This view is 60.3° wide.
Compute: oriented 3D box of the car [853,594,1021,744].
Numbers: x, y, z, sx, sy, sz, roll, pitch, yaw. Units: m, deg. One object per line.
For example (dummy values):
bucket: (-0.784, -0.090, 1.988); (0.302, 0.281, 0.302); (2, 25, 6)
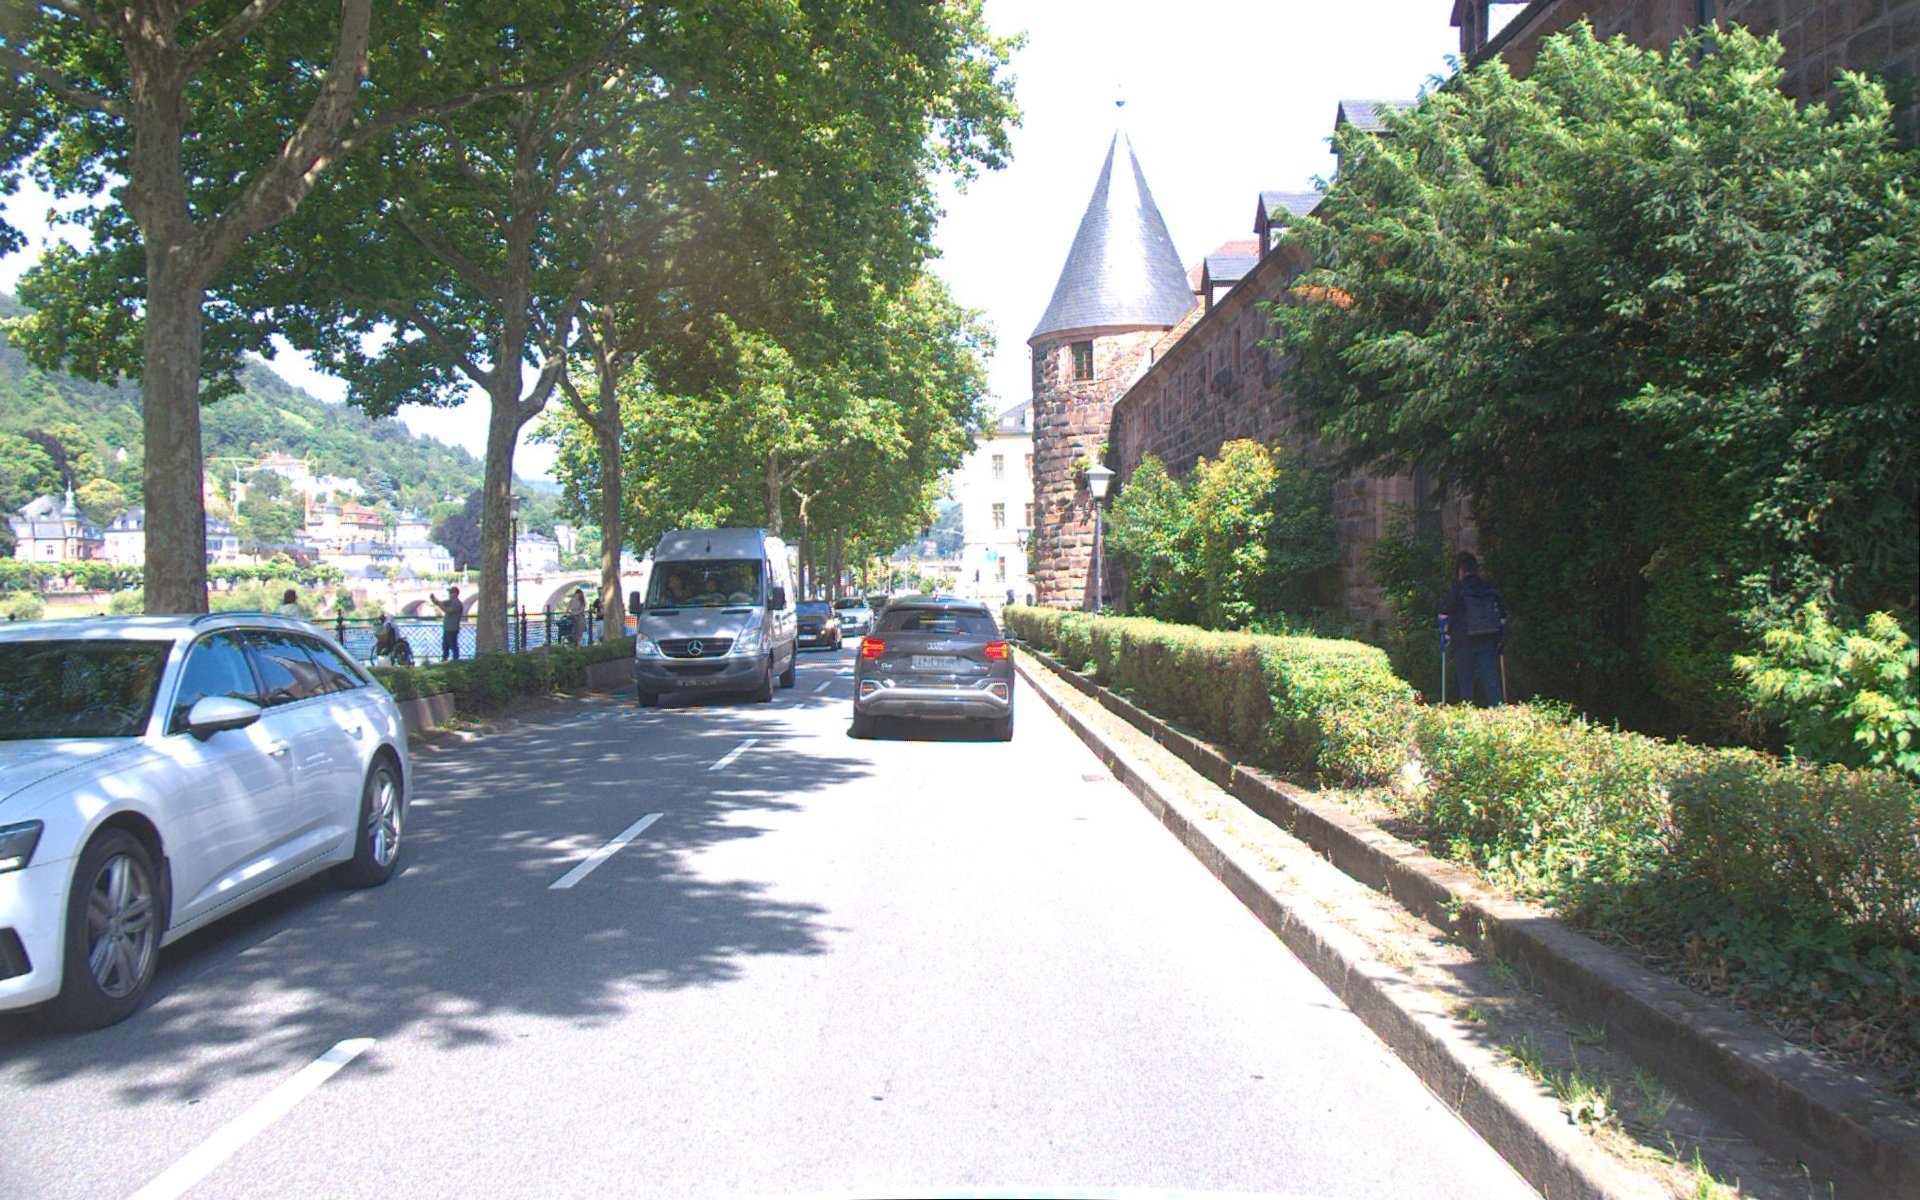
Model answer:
car: (-0.293, 0.713, 18.976); (1.713, 1.521, 3.627); (1, 0, -2)

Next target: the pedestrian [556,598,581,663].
pedestrian: (-9.713, 0.751, 41.010); (0.448, 1.581, 0.585); (-2, 0, -1)

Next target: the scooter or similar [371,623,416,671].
scooter or similar: (-12.085, 0.990, 35.297); (0.618, 0.985, 1.012); (1, 0, -1)

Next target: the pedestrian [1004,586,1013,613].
pedestrian: (3.069, -0.041, 104.961); (0.545, 1.661, 0.660); (1, -1, 0)

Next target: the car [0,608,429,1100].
car: (-3.877, 0.818, 7.206); (1.734, 1.482, 4.532); (-2, 0, -2)

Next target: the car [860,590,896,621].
car: (-4.706, 0.308, 95.612); (1.727, 1.676, 4.090); (-2, 0, 1)

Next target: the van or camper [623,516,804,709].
van or camper: (-3.716, 0.178, 26.038); (1.921, 2.612, 5.839); (-3, 0, -1)

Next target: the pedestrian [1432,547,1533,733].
pedestrian: (4.870, 0.364, 15.445); (0.684, 1.681, 0.705); (-2, 0, 1)

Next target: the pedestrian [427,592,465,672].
pedestrian: (-10.824, 0.674, 34.824); (0.631, 1.647, 0.458); (1, -1, -3)

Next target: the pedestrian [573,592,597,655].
pedestrian: (-9.567, 0.584, 42.202); (0.448, 1.581, 0.585); (-2, 0, -1)

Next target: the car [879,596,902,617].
car: (-5.465, 0.521, 130.520); (1.581, 1.549, 3.476); (1, 0, 1)

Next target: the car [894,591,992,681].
car: (-0.310, 0.652, 32.219); (1.764, 1.590, 3.716); (2, 0, 0)

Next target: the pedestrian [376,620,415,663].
pedestrian: (-12.088, 0.876, 35.450); (0.595, 0.899, 0.705); (0, 0, -1)

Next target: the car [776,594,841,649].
car: (-4.421, 0.597, 48.772); (1.616, 1.495, 3.778); (-2, 0, -2)

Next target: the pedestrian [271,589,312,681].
pedestrian: (-12.748, 0.661, 31.544); (0.572, 1.740, 0.403); (1, -1, -3)

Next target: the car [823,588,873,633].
car: (-4.615, 0.416, 68.411); (1.839, 1.728, 4.257); (-2, 0, -2)
